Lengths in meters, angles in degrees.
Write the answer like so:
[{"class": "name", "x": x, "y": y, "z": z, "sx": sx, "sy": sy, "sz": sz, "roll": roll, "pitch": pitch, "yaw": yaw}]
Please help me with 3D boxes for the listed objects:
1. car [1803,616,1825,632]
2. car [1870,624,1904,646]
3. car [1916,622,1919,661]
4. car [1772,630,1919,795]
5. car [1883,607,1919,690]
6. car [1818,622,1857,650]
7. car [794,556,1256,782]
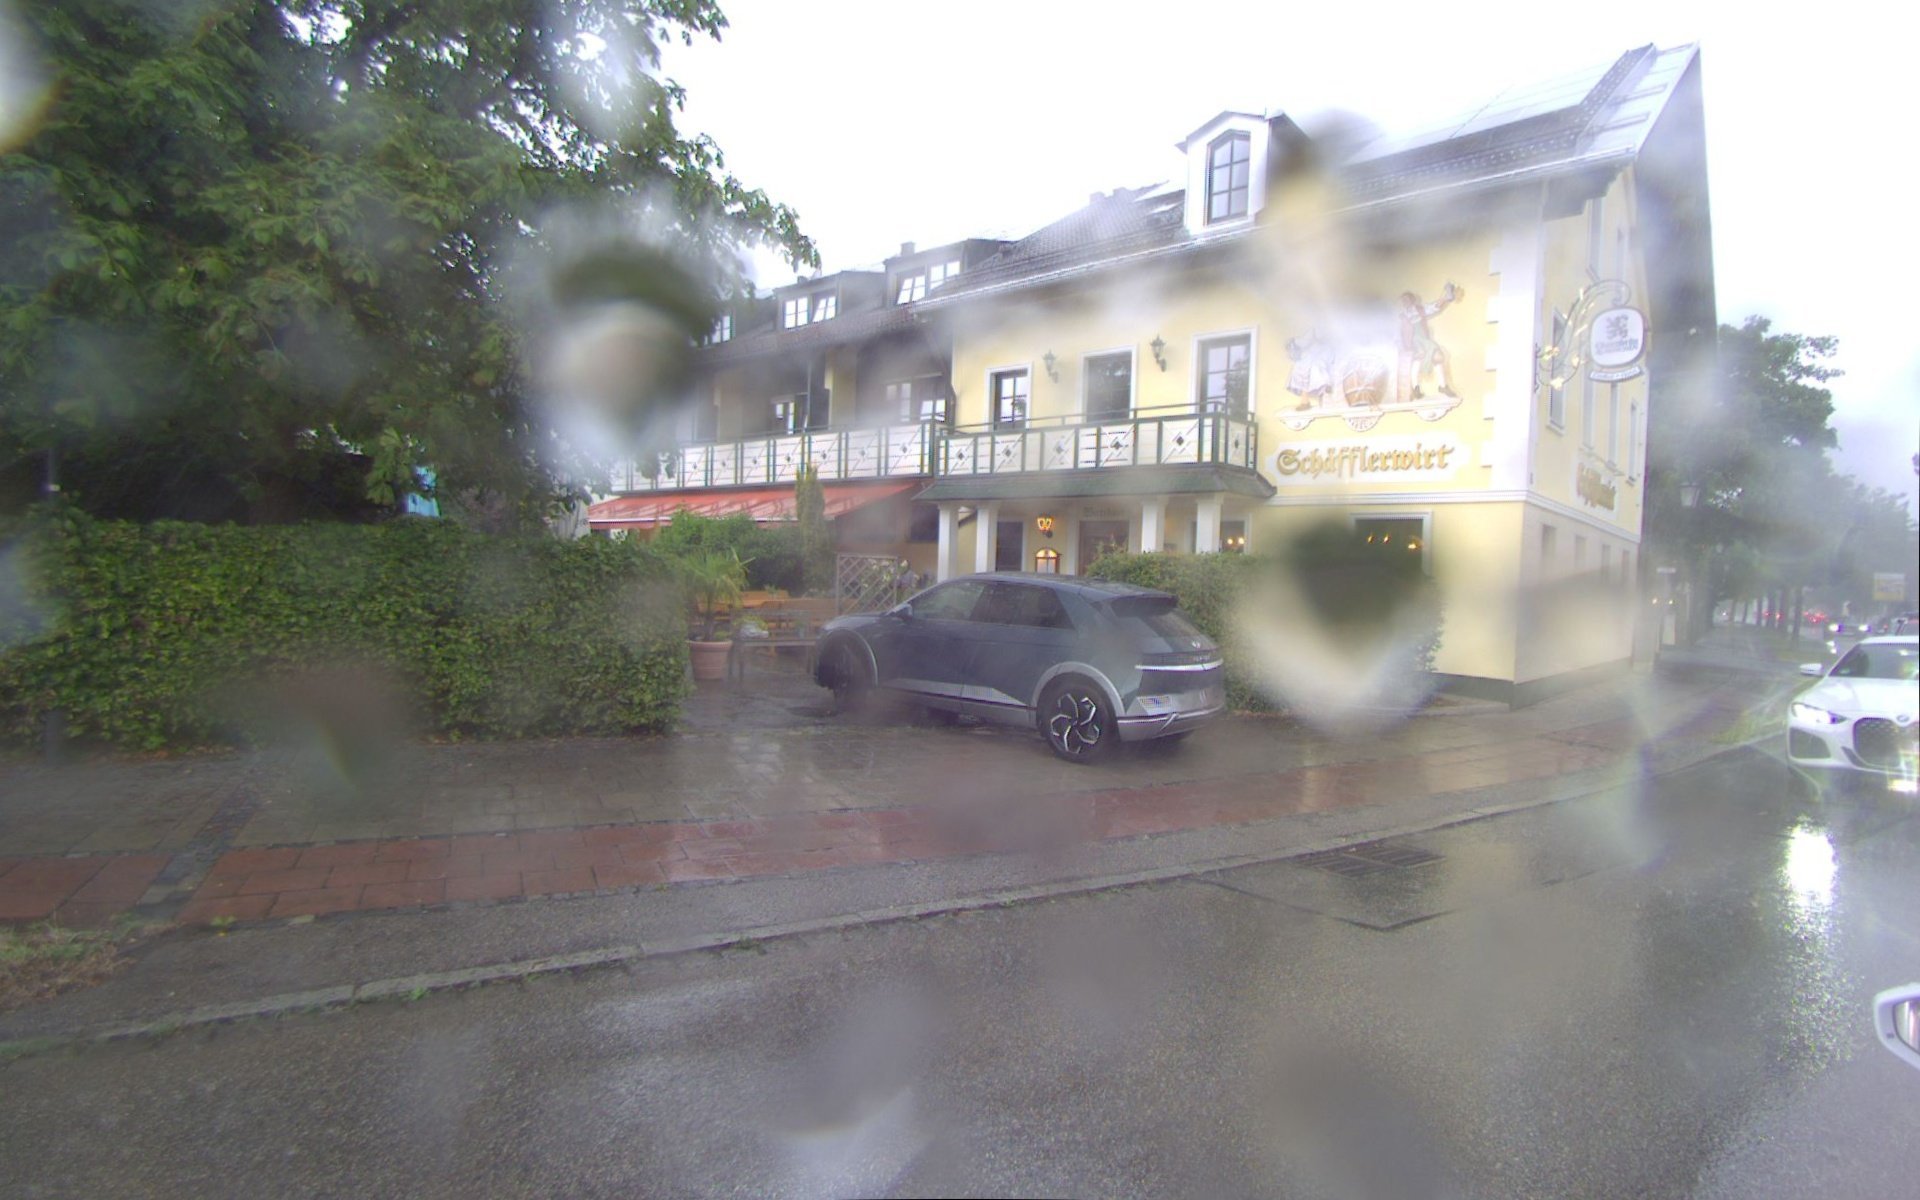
[{"class": "car", "x": 97.466, "y": 2.737, "z": 114.679, "sx": 1.841, "sy": 1.781, "sz": 4.460, "roll": -2, "pitch": -2, "yaw": 41}, {"class": "car", "x": 90.490, "y": 3.397, "z": 98.066, "sx": 2.144, "sy": 1.925, "sz": 4.989, "roll": 3, "pitch": 2, "yaw": 40}, {"class": "car", "x": 49.045, "y": 2.129, "z": 49.703, "sx": 2.144, "sy": 1.925, "sz": 4.989, "roll": 3, "pitch": 2, "yaw": 40}, {"class": "car", "x": 9.907, "y": 1.027, "z": 10.213, "sx": 4.448, "sy": 1.377, "sz": 1.846, "roll": 1, "pitch": 0, "yaw": -41}, {"class": "car", "x": 22.355, "y": 1.073, "z": 22.897, "sx": 1.842, "sy": 1.781, "sz": 4.459, "roll": -2, "pitch": -2, "yaw": 42}, {"class": "car", "x": 57.097, "y": 2.343, "z": 65.387, "sx": 1.841, "sy": 1.781, "sz": 4.460, "roll": -2, "pitch": -2, "yaw": 41}, {"class": "car", "x": 0.488, "y": 0.477, "z": 10.248, "sx": 4.421, "sy": 1.589, "sz": 1.830, "roll": 6, "pitch": 6, "yaw": 39}]
